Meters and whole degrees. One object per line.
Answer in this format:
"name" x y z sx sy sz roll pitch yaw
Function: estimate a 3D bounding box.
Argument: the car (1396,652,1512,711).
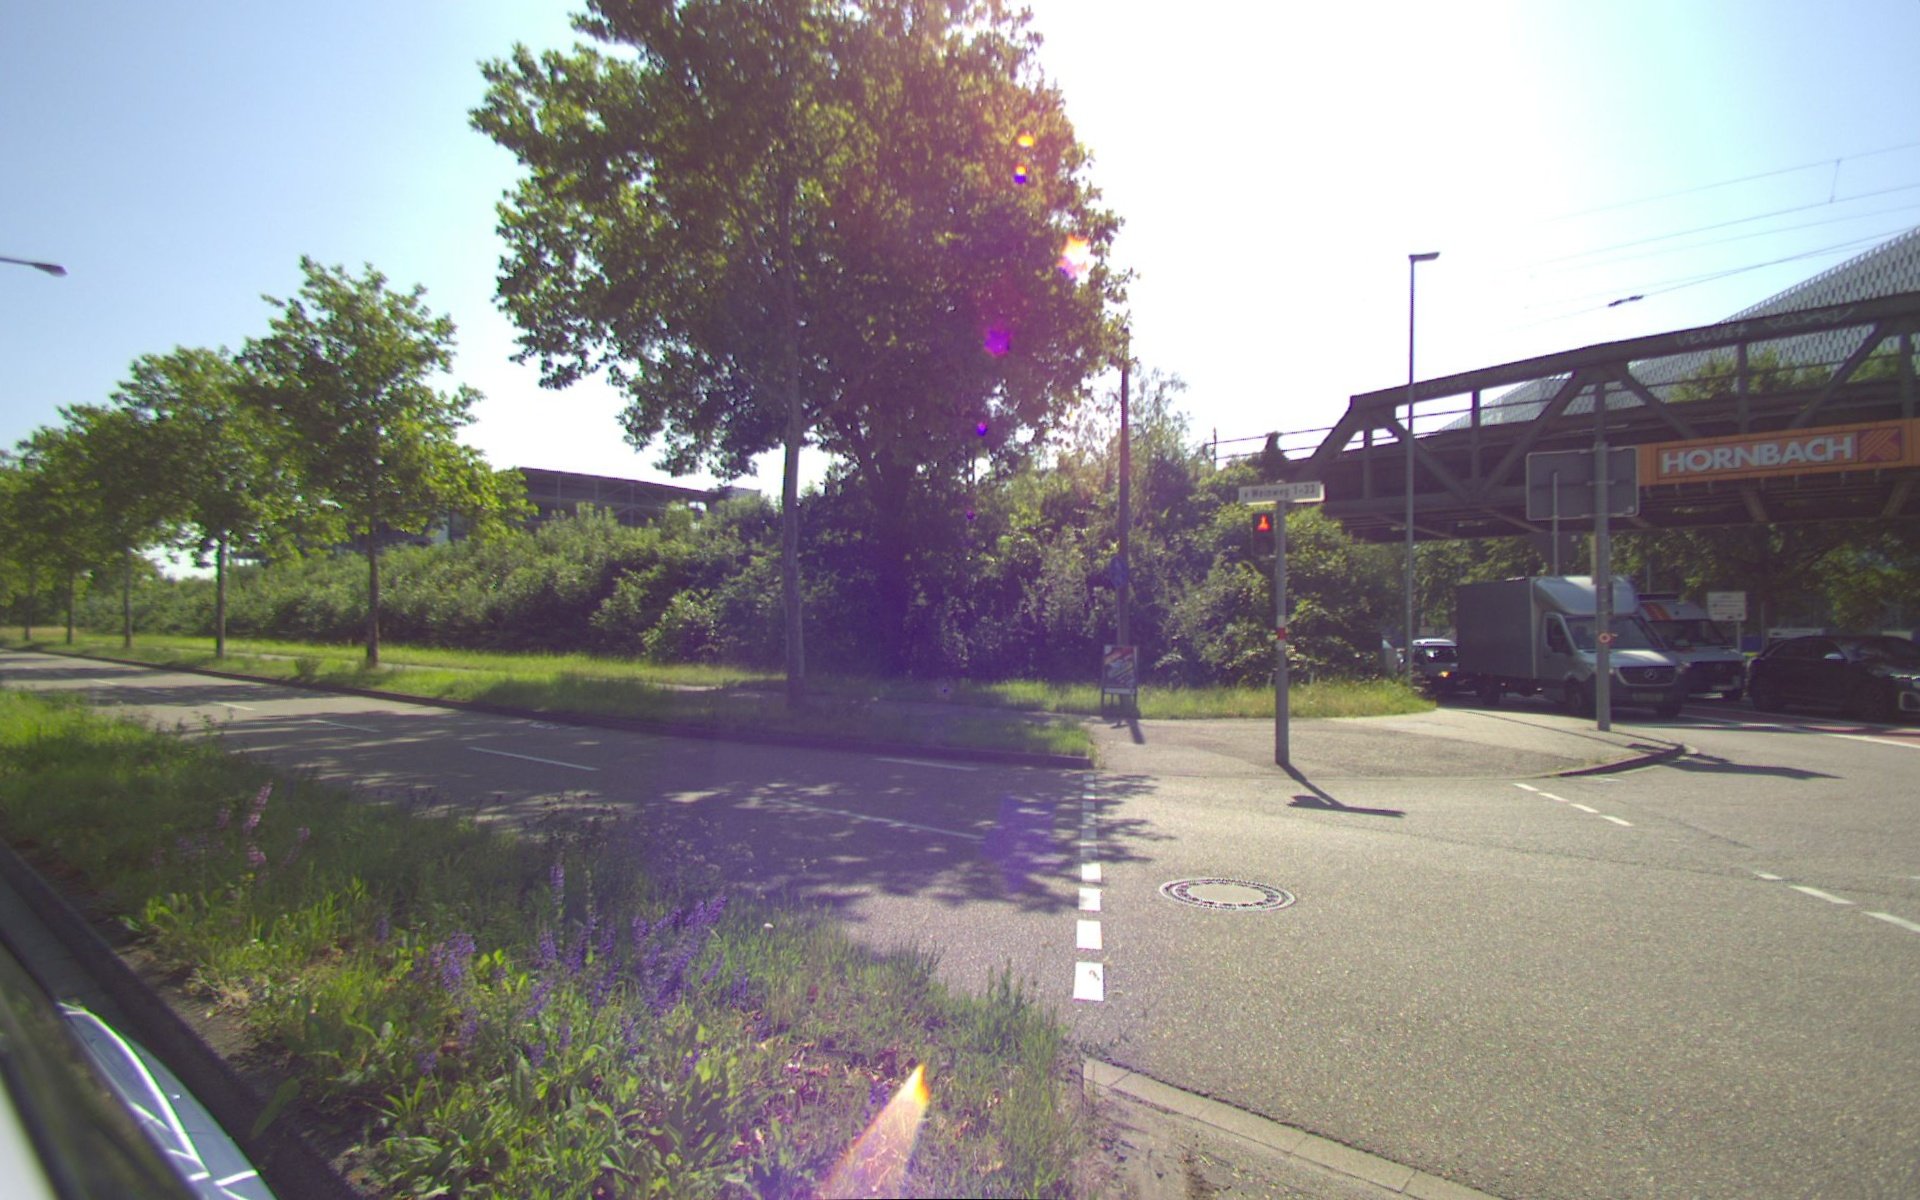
"car" 14.495 2.350 29.940 1.869 1.400 4.227 -1 0 9

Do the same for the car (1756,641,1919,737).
"car" 17.820 1.667 19.536 1.881 1.659 3.993 -1 -4 5

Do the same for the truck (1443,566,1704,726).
"truck" 13.694 1.122 23.356 2.191 3.130 6.854 -1 -4 5

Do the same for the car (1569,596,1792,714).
"car" 19.259 1.466 27.553 2.149 2.834 6.186 0 -3 7
